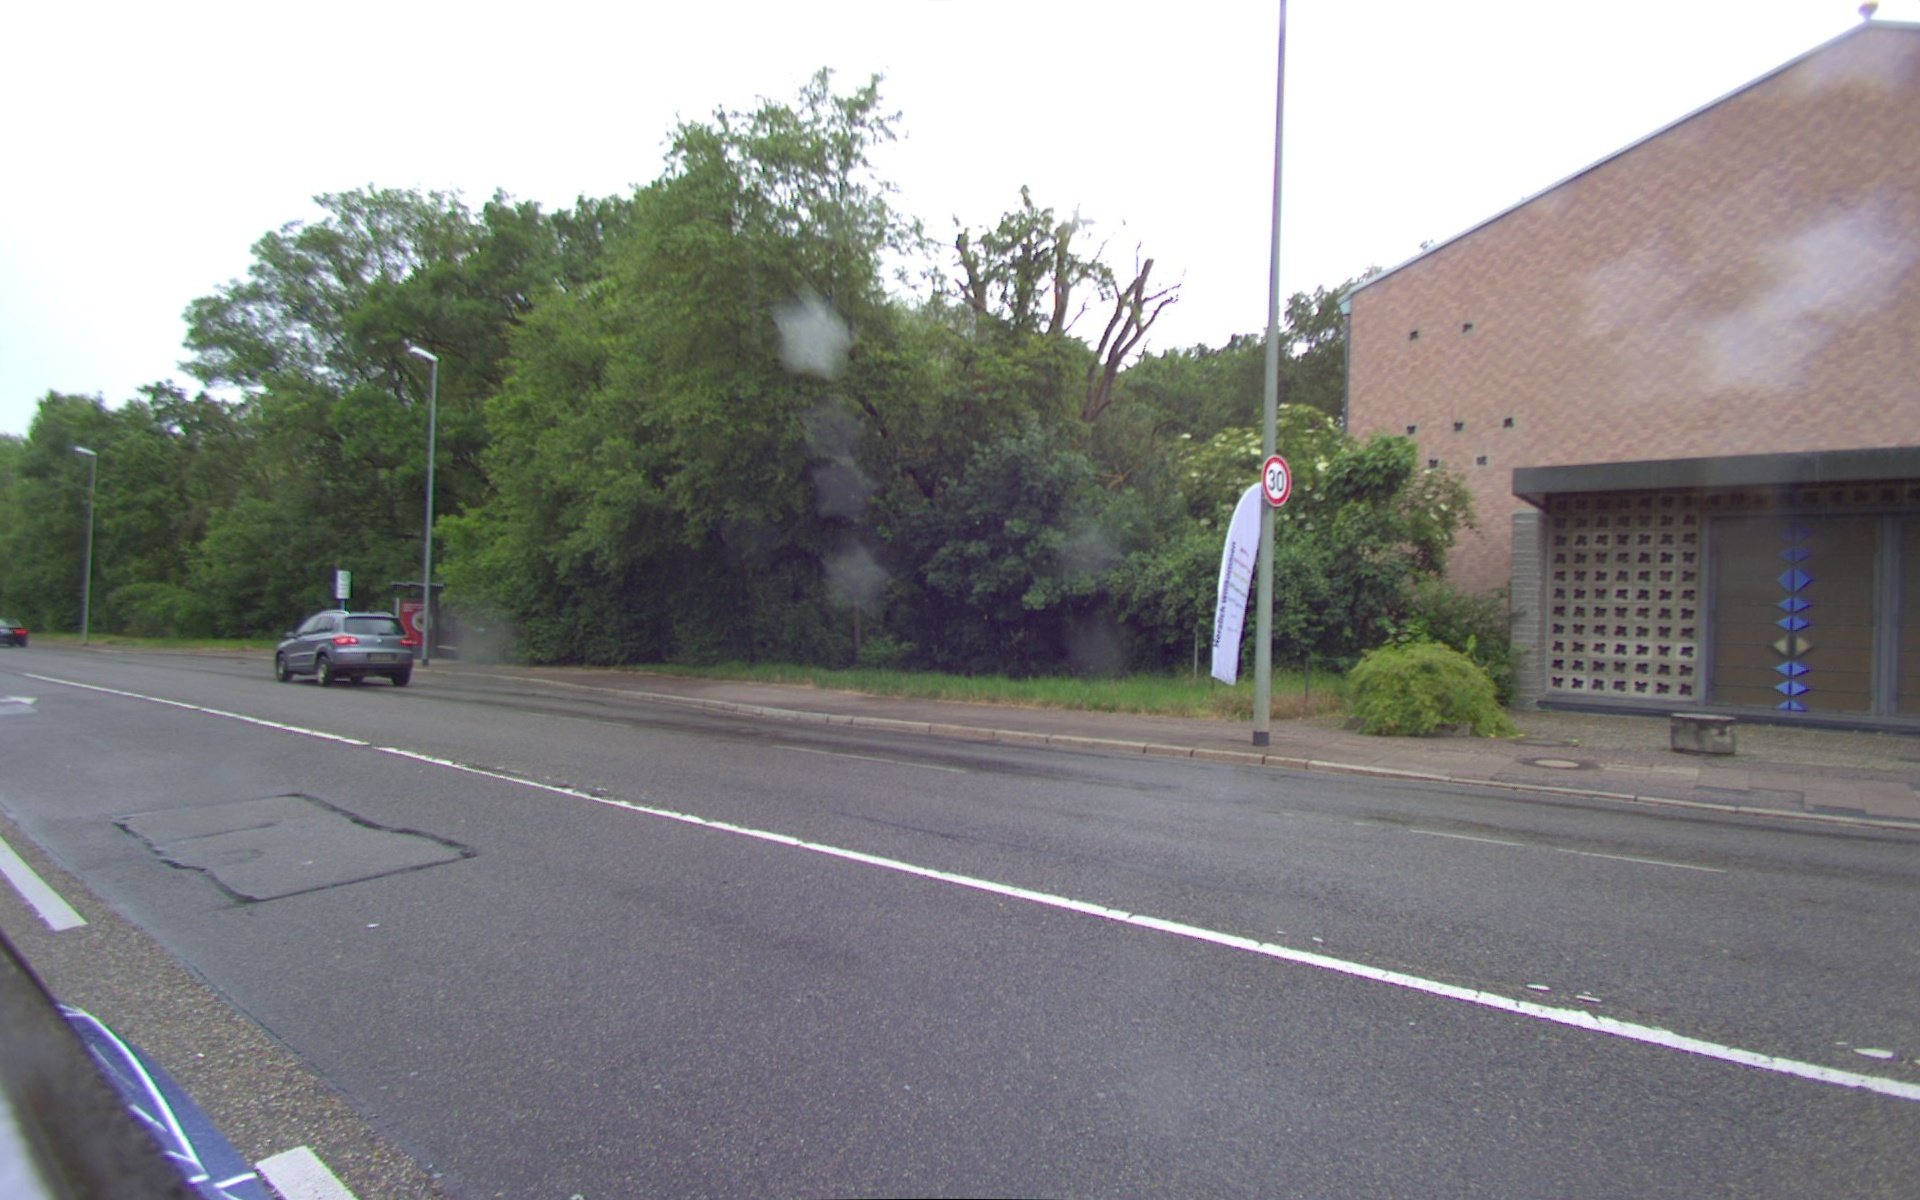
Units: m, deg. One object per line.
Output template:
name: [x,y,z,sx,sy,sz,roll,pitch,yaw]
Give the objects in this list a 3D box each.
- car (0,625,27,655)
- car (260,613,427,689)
car: [-50.602,2.015,52.938,4.944,1.465,1.891,0,-5,40]
car: [-14.340,1.148,23.467,4.312,1.603,1.890,-1,-3,38]
